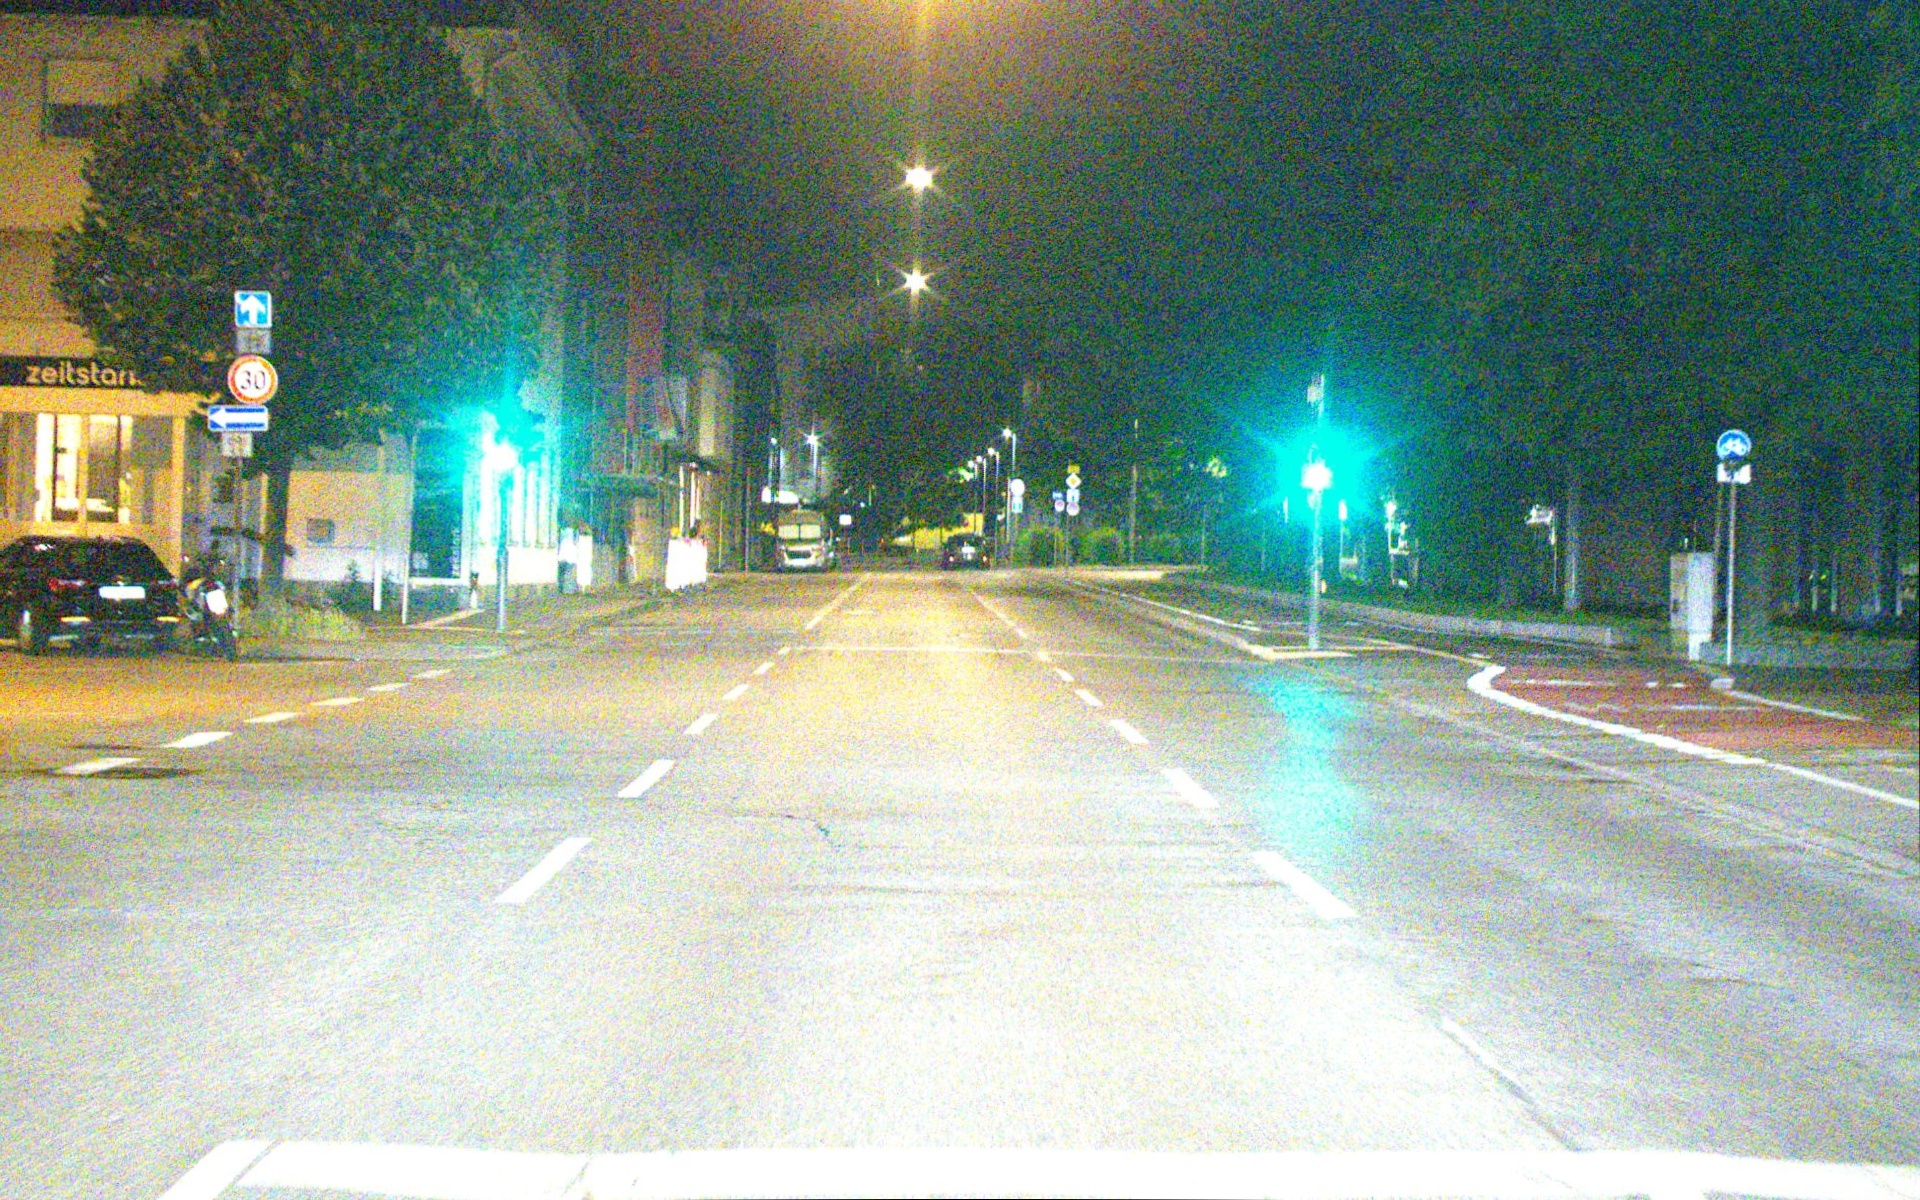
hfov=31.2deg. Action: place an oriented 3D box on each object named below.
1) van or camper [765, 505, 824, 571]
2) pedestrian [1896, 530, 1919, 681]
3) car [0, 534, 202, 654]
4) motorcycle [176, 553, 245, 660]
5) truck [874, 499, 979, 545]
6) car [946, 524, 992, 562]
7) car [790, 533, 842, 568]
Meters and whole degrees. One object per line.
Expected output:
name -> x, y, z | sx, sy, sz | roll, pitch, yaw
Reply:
van or camper -> -6.624, -2.473, 138.117 | 2.158, 2.527, 6.227 | -1, 1, -1
pedestrian -> 11.681, 0.065, 41.327 | 0.621, 1.805, 0.759 | 1, 1, 0
car -> -11.202, -0.116, 43.025 | 1.886, 1.419, 4.730 | 0, 1, -32
motorcycle -> -8.698, 0.063, 39.863 | 0.571, 1.175, 2.033 | 1, 1, -18
truck -> -2.220, -5.152, 226.025 | 6.775, 2.834, 2.000 | 2, 1, -3
car -> 0.400, -2.445, 148.482 | 1.884, 1.597, 4.107 | -1, 1, 1
car -> -6.265, -2.135, 148.931 | 1.838, 1.502, 4.743 | 0, 1, -8
